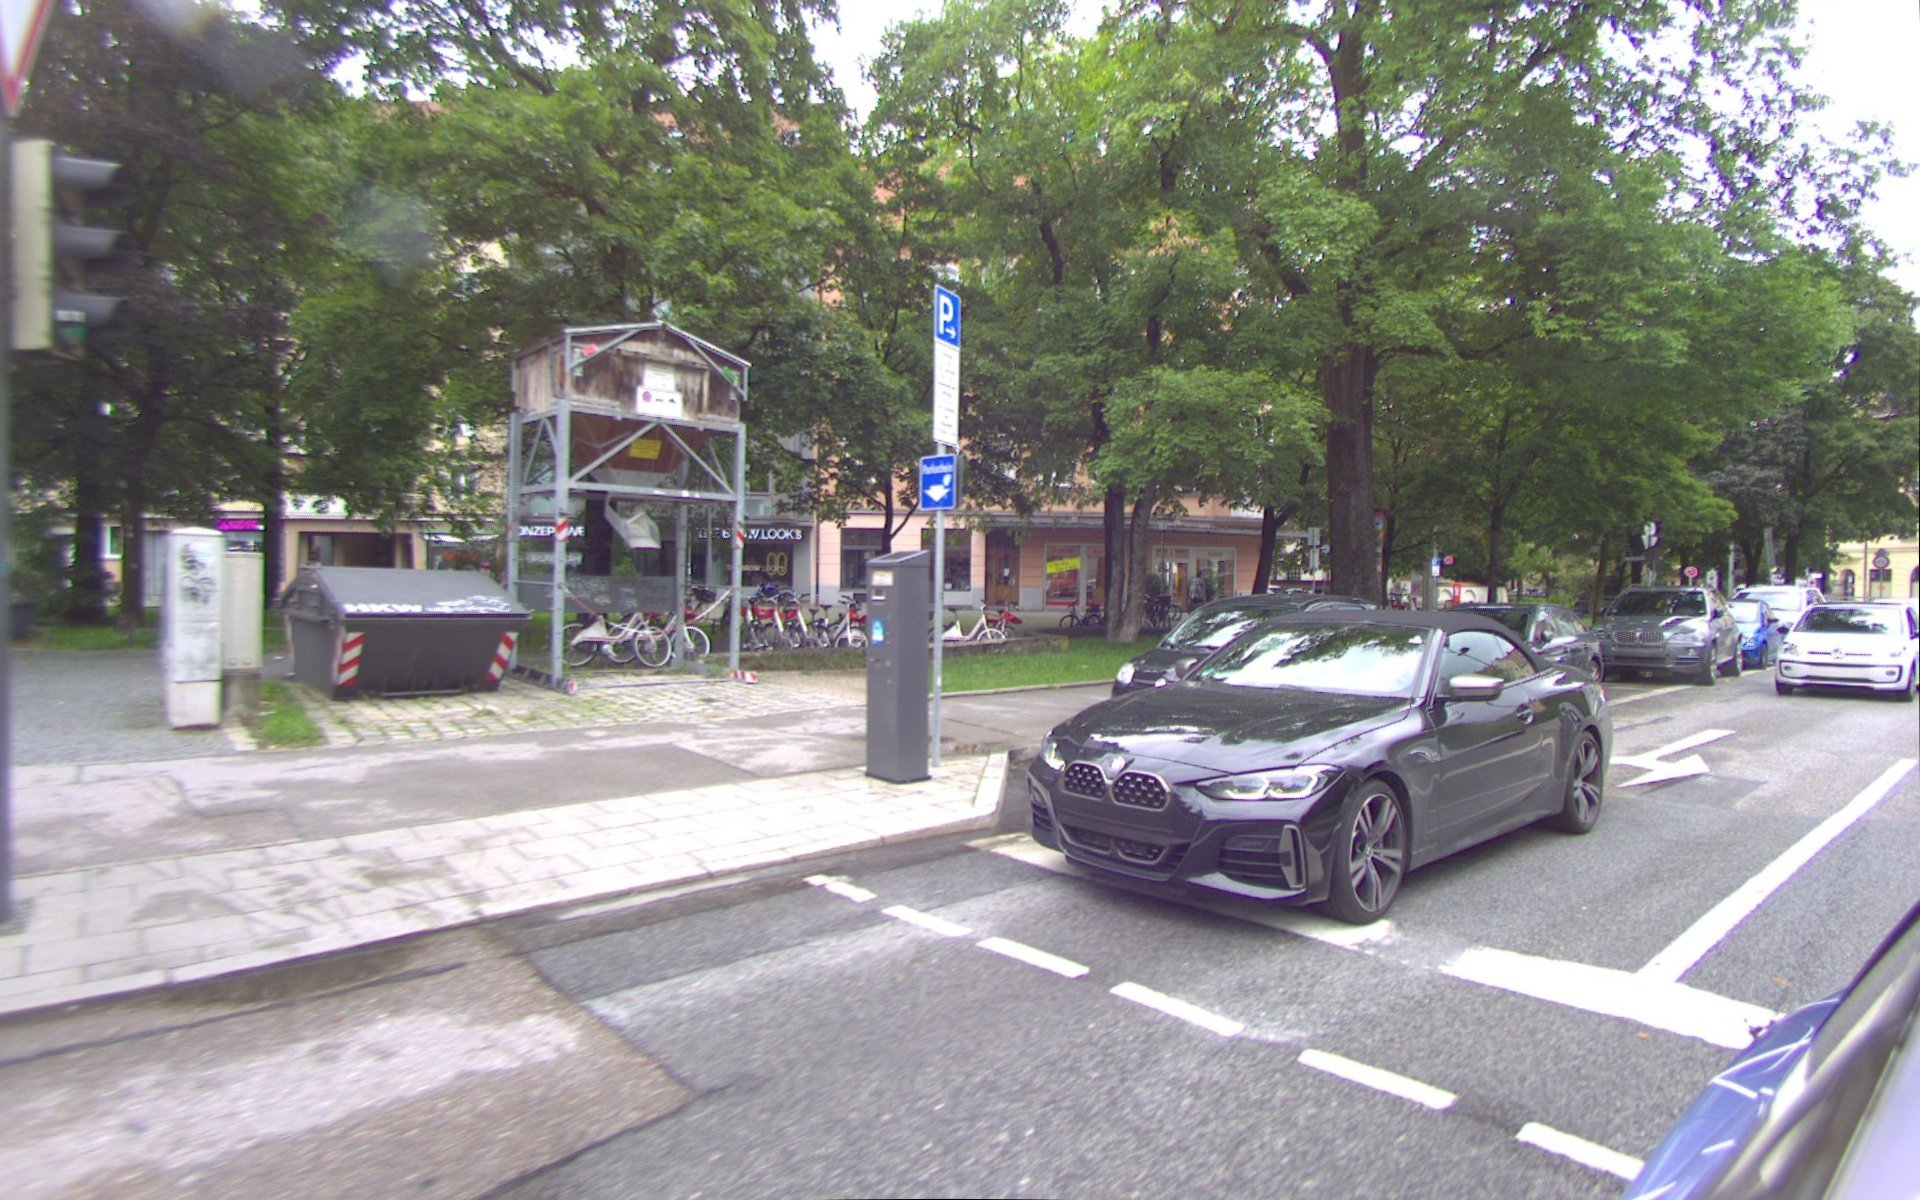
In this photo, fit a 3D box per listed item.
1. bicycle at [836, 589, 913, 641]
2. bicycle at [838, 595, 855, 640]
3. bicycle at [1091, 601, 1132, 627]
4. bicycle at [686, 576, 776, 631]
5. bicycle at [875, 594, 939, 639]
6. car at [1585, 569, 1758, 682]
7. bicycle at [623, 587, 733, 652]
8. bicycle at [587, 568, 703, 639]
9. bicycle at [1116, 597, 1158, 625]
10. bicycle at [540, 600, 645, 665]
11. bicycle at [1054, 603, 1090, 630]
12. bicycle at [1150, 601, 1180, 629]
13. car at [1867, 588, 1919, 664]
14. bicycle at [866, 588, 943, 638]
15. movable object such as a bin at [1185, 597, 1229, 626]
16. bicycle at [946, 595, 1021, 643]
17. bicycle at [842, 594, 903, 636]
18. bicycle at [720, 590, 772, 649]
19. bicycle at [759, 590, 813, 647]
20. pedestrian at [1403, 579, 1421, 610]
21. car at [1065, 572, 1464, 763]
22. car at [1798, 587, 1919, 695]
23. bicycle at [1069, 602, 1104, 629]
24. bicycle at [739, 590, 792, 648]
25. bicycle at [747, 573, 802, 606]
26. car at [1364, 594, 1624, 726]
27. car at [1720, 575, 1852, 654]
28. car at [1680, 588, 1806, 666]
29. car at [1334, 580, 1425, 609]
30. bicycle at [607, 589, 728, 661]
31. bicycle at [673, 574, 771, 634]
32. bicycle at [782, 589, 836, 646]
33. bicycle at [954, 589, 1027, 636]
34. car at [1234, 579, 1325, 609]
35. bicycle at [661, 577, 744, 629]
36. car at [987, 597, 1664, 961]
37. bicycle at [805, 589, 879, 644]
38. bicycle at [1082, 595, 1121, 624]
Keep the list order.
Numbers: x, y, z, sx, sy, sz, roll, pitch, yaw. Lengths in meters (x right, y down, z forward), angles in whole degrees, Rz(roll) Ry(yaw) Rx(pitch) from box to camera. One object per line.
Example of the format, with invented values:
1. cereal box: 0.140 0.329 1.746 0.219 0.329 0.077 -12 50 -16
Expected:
1. bicycle: -1.537 0.256 18.079 1.397 0.905 0.311 1 1 24
2. bicycle: -2.381 0.352 21.199 0.307 0.905 1.414 -1 0 -7
3. bicycle: 4.405 0.408 29.420 1.154 0.732 0.320 -1 0 -19
4. bicycle: -6.325 0.073 27.957 2.438 1.373 0.626 3 1 20
5. bicycle: -1.115 0.331 21.340 1.386 0.905 0.313 -1 0 -36
6. car: 13.416 0.388 18.969 1.932 1.842 4.481 2 2 45
7. bicycle: -6.164 0.421 22.094 2.439 1.374 0.626 -1 0 22
8. bicycle: -6.586 0.048 21.101 2.439 1.373 0.626 2 1 21
9. bicycle: 4.736 0.291 27.032 1.155 0.732 0.319 -1 0 -30
10. bicycle: -5.255 0.463 14.511 1.383 0.905 0.314 1 0 -15
11. bicycle: 3.054 0.445 27.761 0.313 0.732 1.179 -1 0 -32
12. bicycle: 5.656 0.403 27.921 0.312 0.732 1.181 -1 0 -15
13. car: 21.124 0.530 22.034 3.820 1.549 1.646 0 2 -42
14. bicycle: -1.025 0.241 18.773 1.391 0.905 0.312 -1 0 13
15. movable object such as a bin: 7.964 0.356 32.691 0.759 0.883 1.182 0 1 -33
16. bicycle: 0.449 0.360 19.355 1.391 0.905 0.312 -1 0 13
17. bicycle: -1.941 0.330 22.663 1.386 0.905 0.313 -1 0 -36
18. bicycle: -3.446 0.304 16.212 0.307 0.905 1.413 -1 0 -34
19. bicycle: -2.869 0.291 16.622 0.307 0.905 1.413 -1 0 -34
20. pedestrian: 22.852 -0.282 51.186 0.632 1.571 0.603 -1 0 -35
21. car: 3.318 0.530 10.542 4.474 1.568 1.834 0 1 -40
22. car: 14.797 0.563 16.375 1.769 1.543 4.145 0 1 42
23. bicycle: 3.552 0.430 28.516 0.313 0.732 1.179 -1 0 -32
24. bicycle: -3.167 0.298 16.390 0.307 0.905 1.413 -1 0 -34
25. bicycle: -7.757 -0.437 42.289 2.204 1.306 0.507 -1 0 -4
26. car: 7.465 0.680 13.924 4.564 1.479 1.770 0 2 -43
27. car: 21.589 0.316 26.389 4.936 1.879 1.847 0 1 -41
28. car: 17.340 0.530 22.368 3.598 1.568 1.522 0 1 -41
29. car: 23.223 -0.303 56.233 1.825 1.485 4.446 -1 1 -31
30. bicycle: -4.487 0.366 15.431 2.228 1.029 0.622 -1 0 39
31. bicycle: -6.050 0.091 25.663 2.438 1.373 0.626 3 1 20
32. bicycle: -2.522 0.284 16.838 0.307 0.905 1.413 -1 0 -34
33. bicycle: 0.602 0.240 20.000 1.391 0.905 0.312 -1 0 13
34. car: 16.730 -0.295 53.204 1.825 1.485 4.446 -1 1 -31
35. bicycle: -7.603 0.073 29.869 2.438 1.373 0.626 3 1 20
36. car: 2.512 0.709 6.204 4.712 1.407 1.728 0 1 -39
37. bicycle: -2.016 0.272 17.188 1.403 0.905 0.309 -1 0 36
38. bicycle: 3.726 0.247 26.684 0.313 0.732 1.179 -1 0 -32
